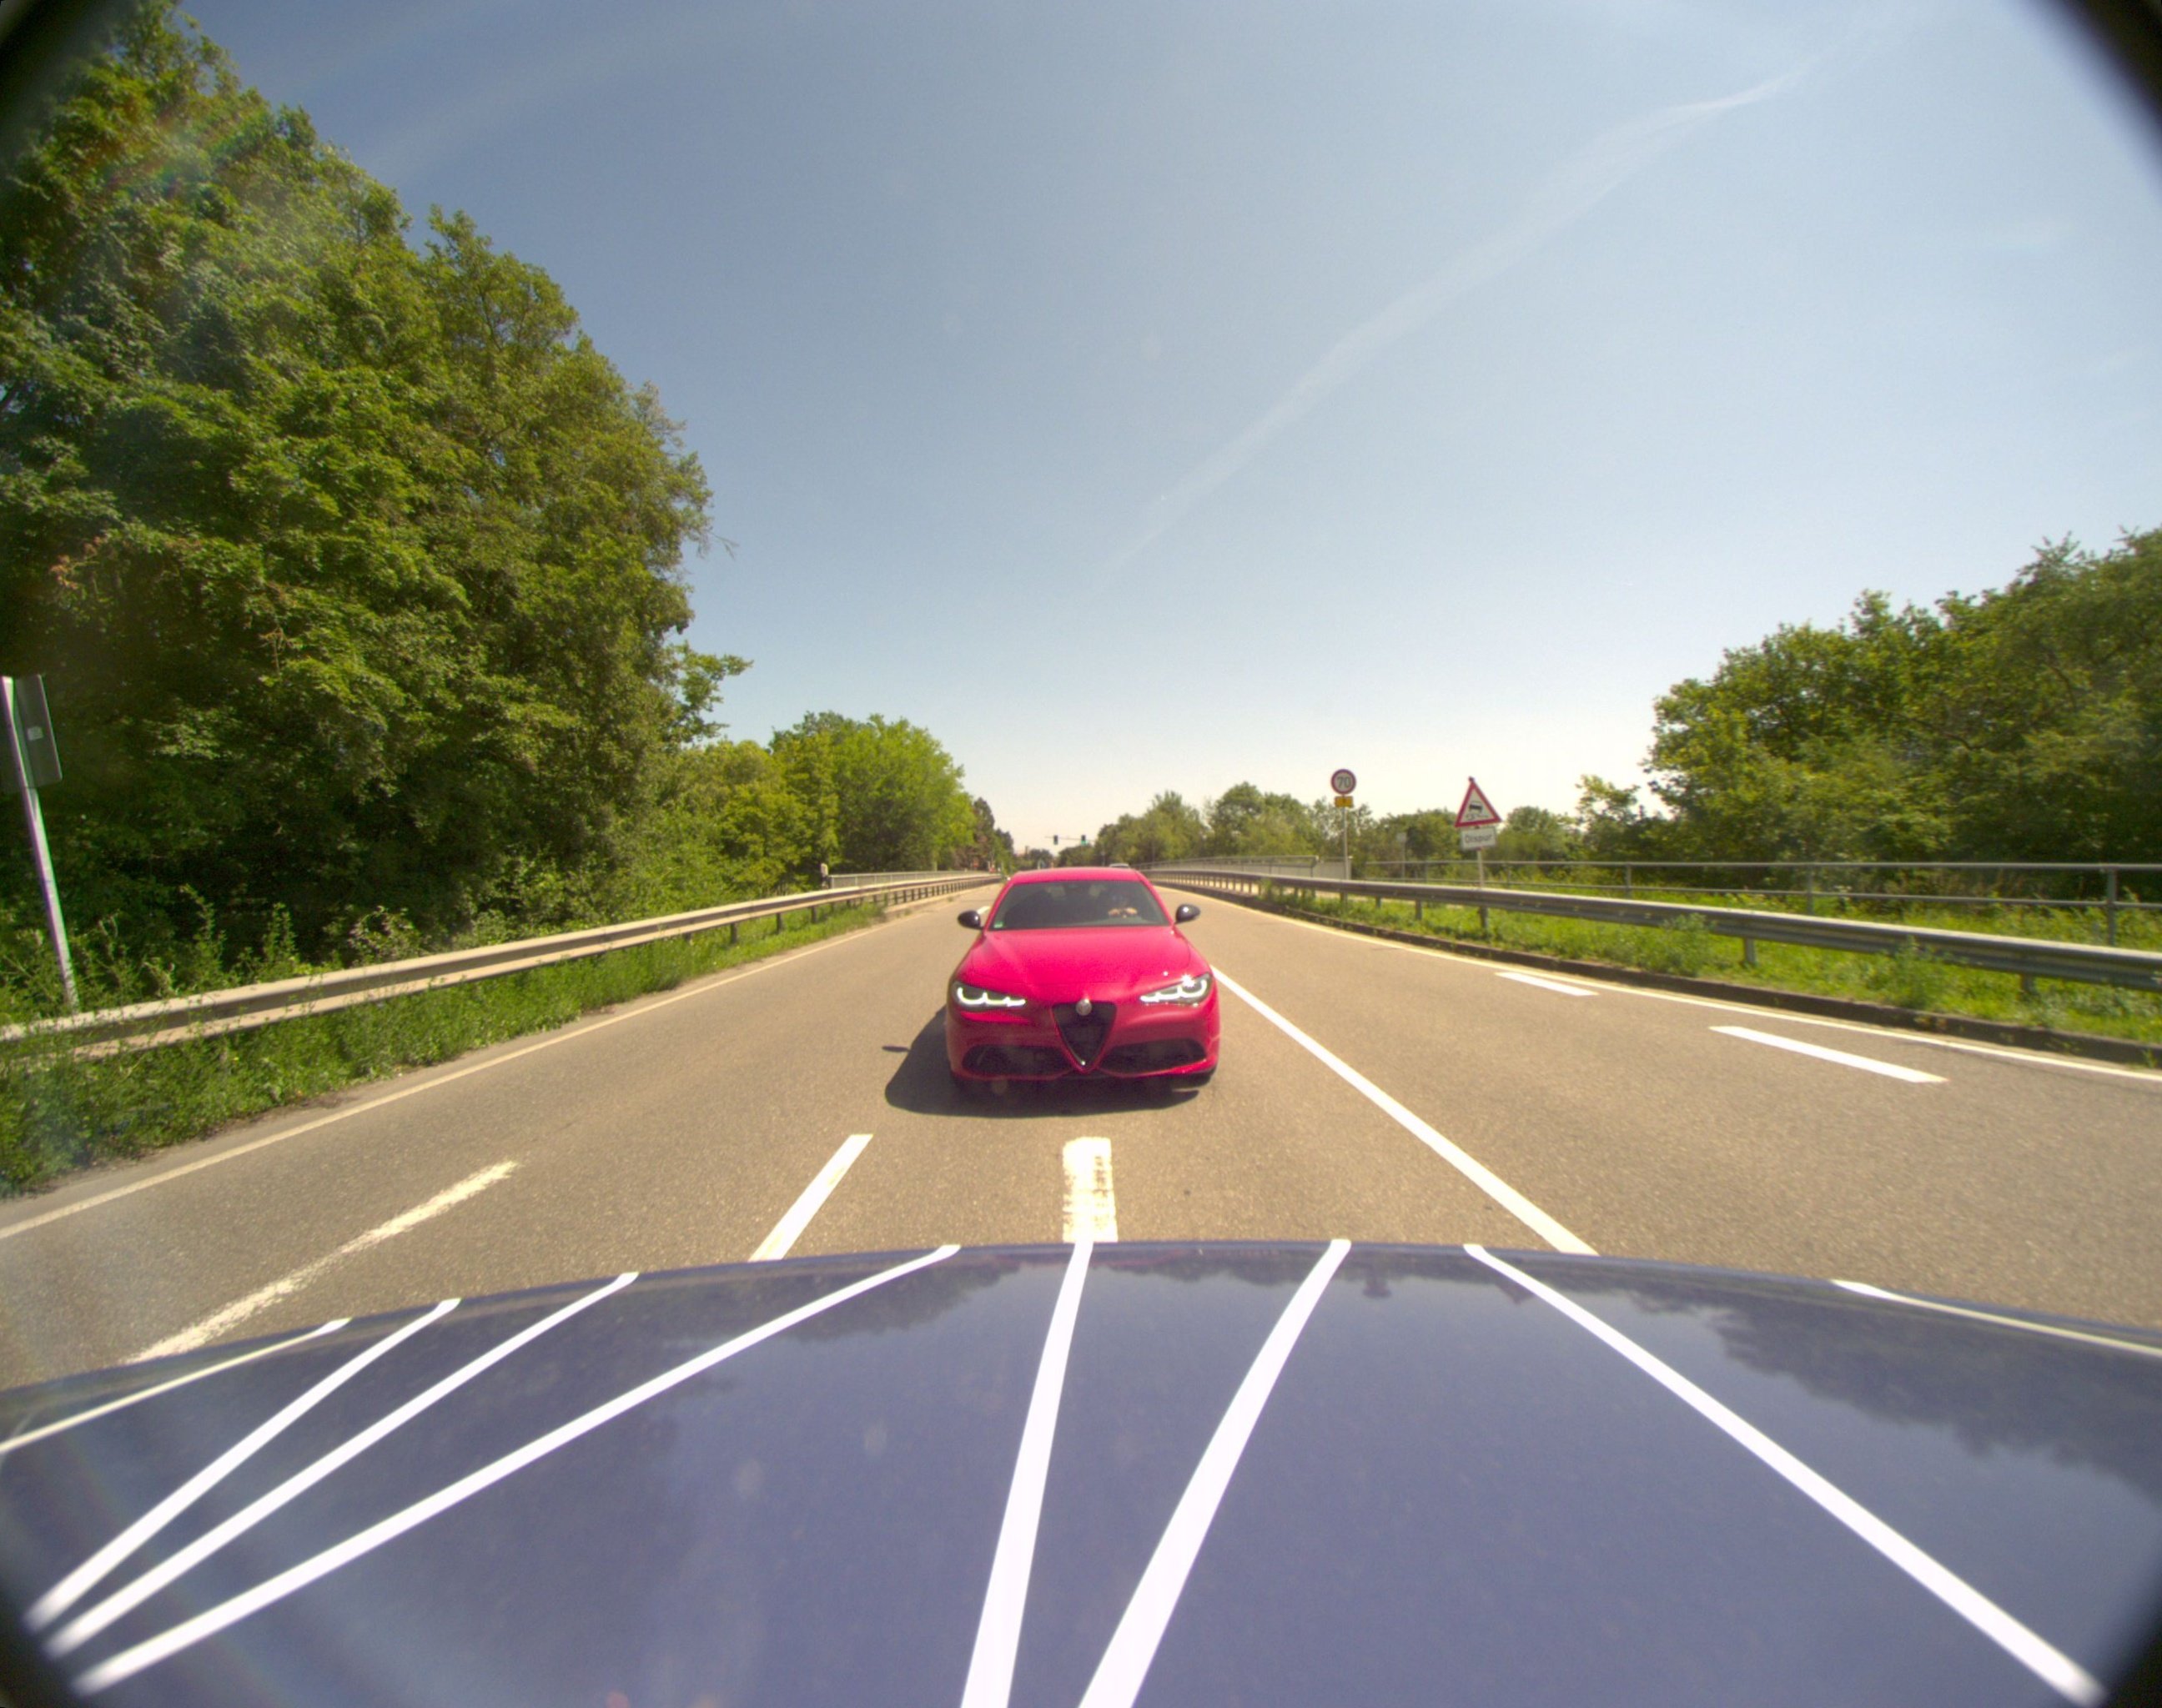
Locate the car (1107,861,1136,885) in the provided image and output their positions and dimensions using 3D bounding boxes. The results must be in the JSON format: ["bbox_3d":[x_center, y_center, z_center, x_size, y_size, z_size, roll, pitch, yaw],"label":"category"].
[{"bbox_3d":[2.621,1.212,49.984,1.649,1.410,3.766,-2,0,-1],"label":"car"}]

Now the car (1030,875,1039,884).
[{"bbox_3d":[-8.045,4.389,131.726,1.416,1.499,3.315,-1,0,-3],"label":"car"}]

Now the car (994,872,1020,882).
[{"bbox_3d":[-11.343,3.549,116.913,3.696,1.448,1.805,-1,0,38],"label":"car"}]

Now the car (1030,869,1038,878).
[{"bbox_3d":[-8.956,3.584,143.366,1.476,1.565,3.487,-1,0,-4],"label":"car"}]

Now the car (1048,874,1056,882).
[{"bbox_3d":[-6.960,5.709,183.569,1.848,1.758,4.000,-1,0,-1],"label":"car"}]

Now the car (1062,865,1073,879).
[{"bbox_3d":[-2.486,3.312,141.320,1.995,2.354,5.181,-2,0,-1],"label":"car"}]

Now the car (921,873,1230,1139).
[{"bbox_3d":[-0.070,0.953,6.640,1.801,1.448,4.284,-1,0,-1],"label":"car"}]
